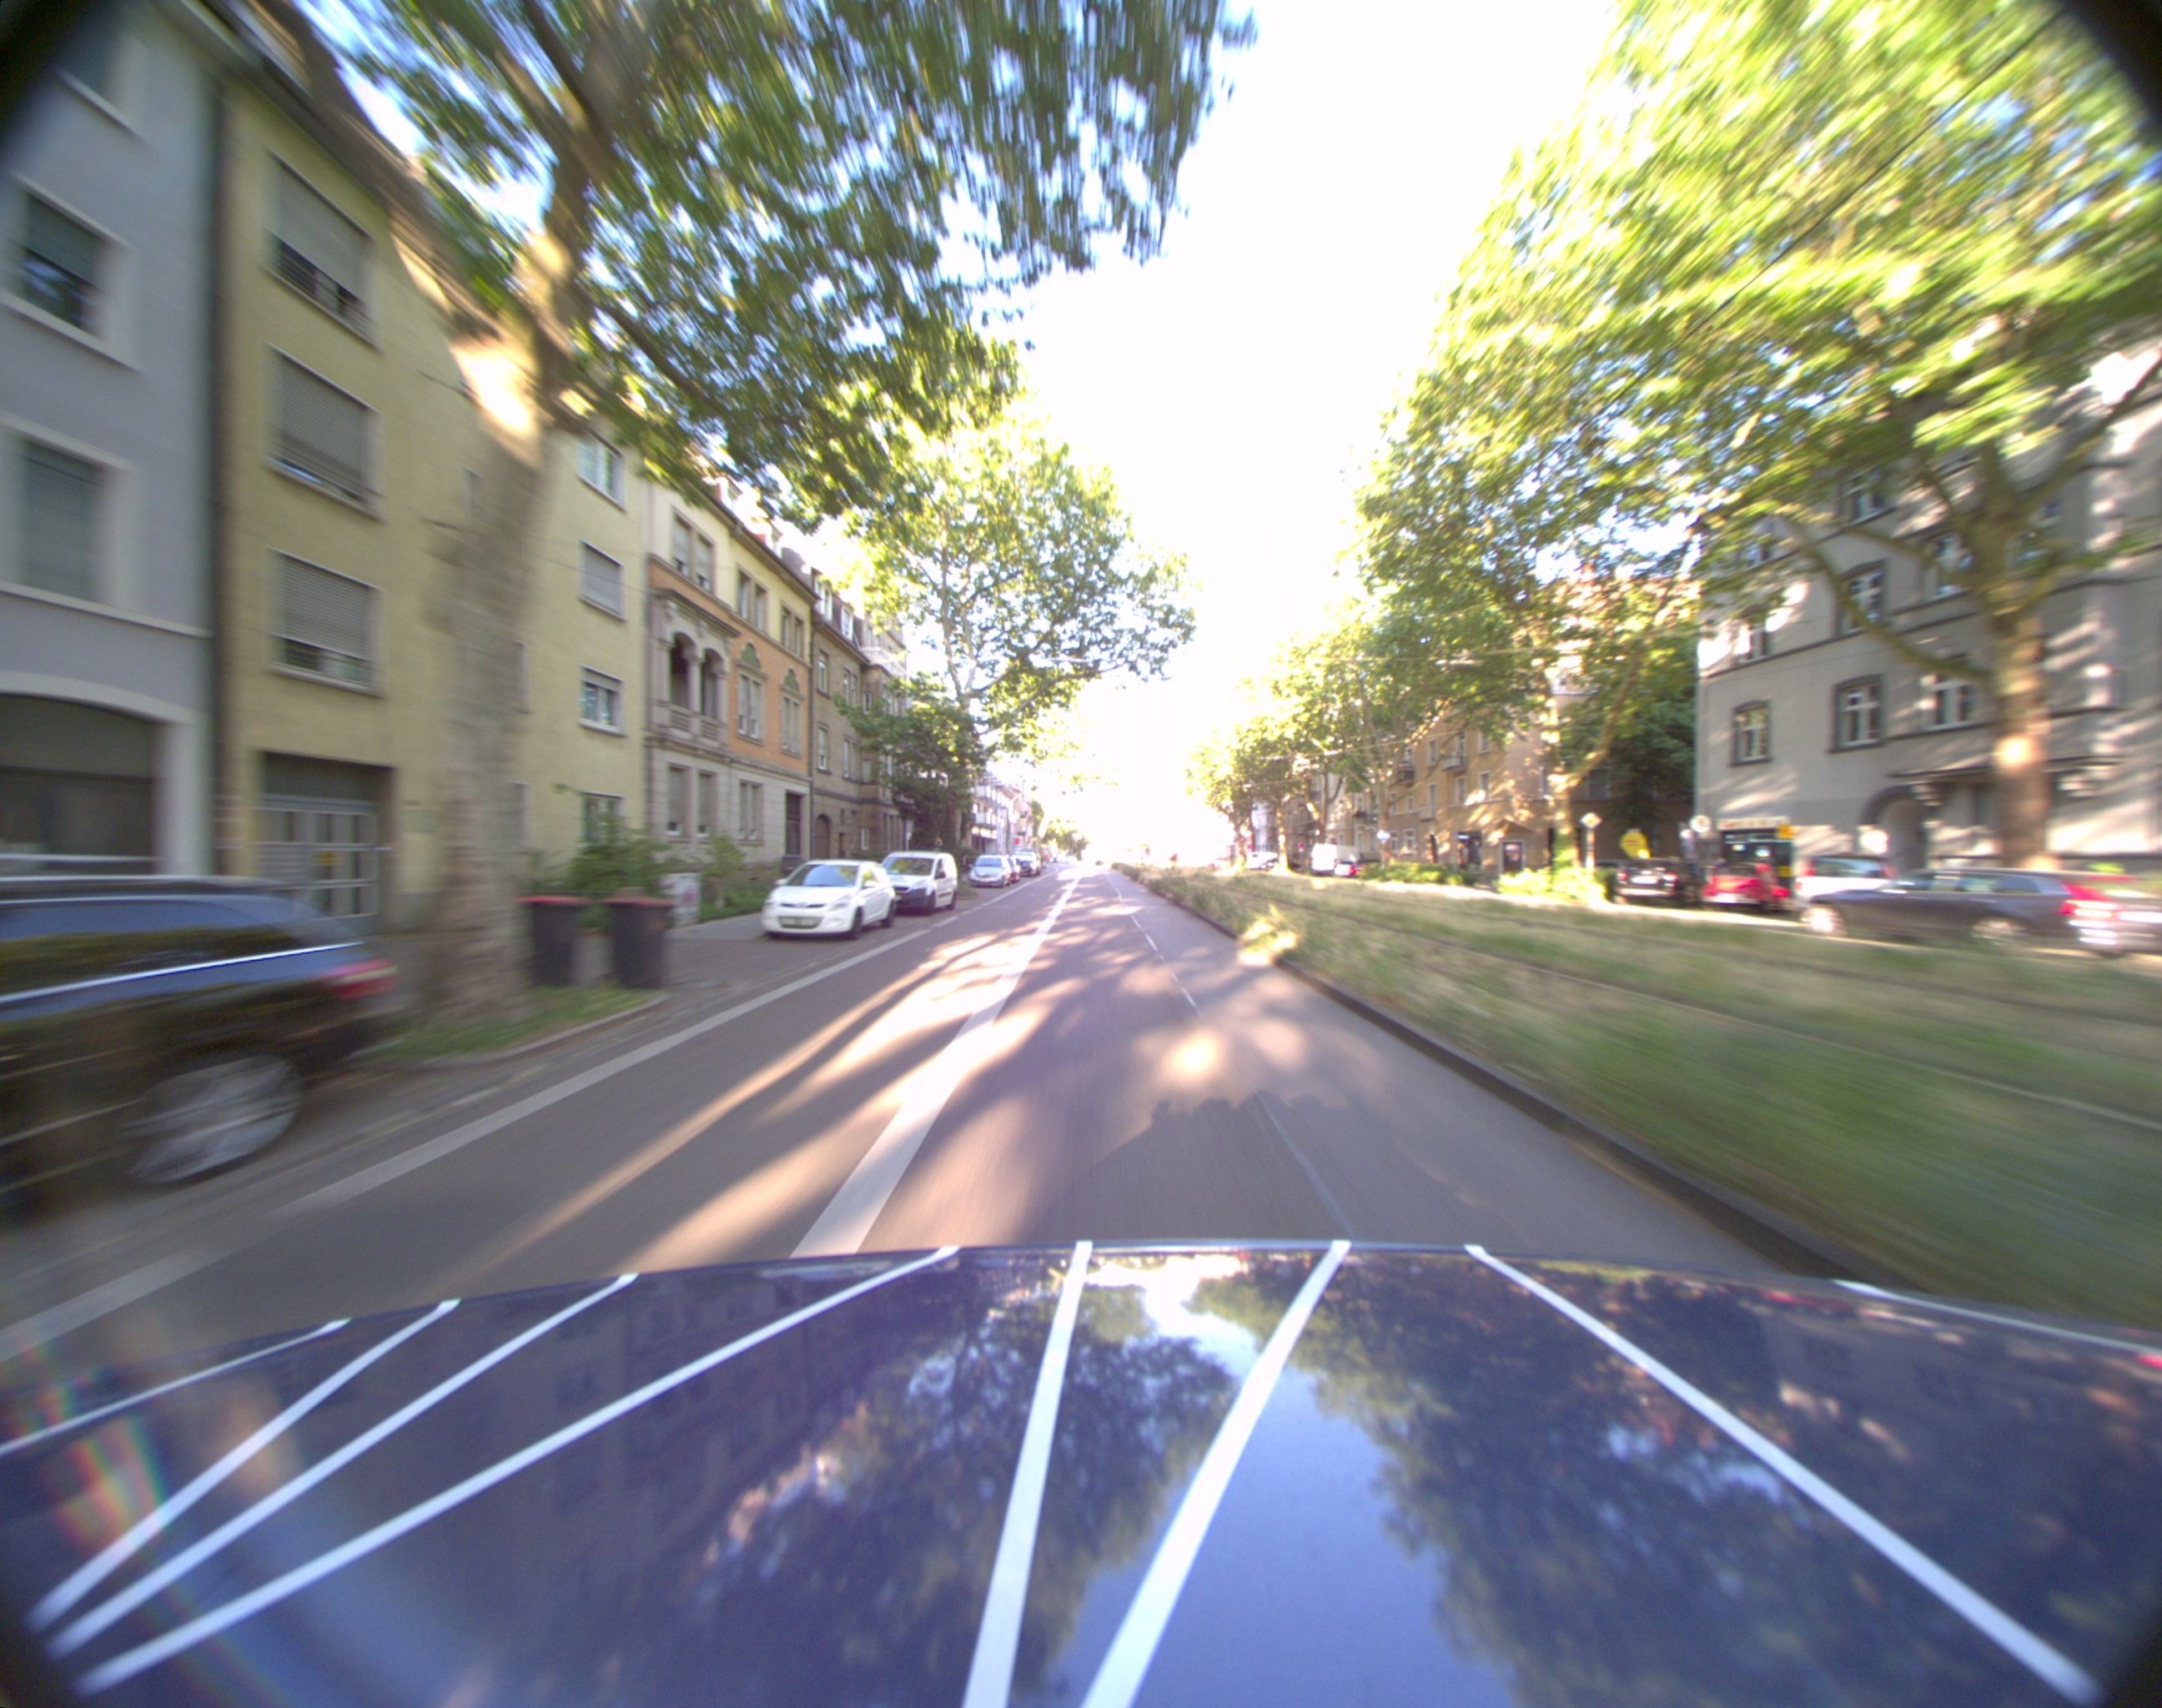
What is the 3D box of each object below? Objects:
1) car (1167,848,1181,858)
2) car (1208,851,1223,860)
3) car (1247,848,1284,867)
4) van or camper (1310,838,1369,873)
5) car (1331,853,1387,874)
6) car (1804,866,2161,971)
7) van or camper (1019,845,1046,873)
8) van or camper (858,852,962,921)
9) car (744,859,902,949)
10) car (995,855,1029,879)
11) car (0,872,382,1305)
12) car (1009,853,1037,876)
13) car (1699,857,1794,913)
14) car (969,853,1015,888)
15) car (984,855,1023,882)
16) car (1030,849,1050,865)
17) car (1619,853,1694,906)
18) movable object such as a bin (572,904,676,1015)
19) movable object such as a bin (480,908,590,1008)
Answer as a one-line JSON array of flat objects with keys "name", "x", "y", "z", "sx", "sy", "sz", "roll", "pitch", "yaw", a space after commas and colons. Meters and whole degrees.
[{"name": "car", "x": 14.209, "y": -0.168, "z": 115.707, "sx": 1.997, "sy": 1.477, "sz": 4.002, "roll": -2, "pitch": 1, "yaw": 9}, {"name": "car", "x": 23.246, "y": 0.275, "z": 131.268, "sx": 1.998, "sy": 1.412, "sz": 4.000, "roll": -2, "pitch": 1, "yaw": 3}, {"name": "car", "x": 20.229, "y": 0.374, "z": 83.233, "sx": 4.007, "sy": 2.002, "sz": 1.994, "roll": -3, "pitch": 1, "yaw": -41}, {"name": "van or camper", "x": 19.784, "y": 0.103, "z": 58.146, "sx": 4.371, "sy": 2.386, "sz": 2.196, "roll": -4, "pitch": 2, "yaw": -39}, {"name": "car", "x": 20.345, "y": 0.678, "z": 55.613, "sx": 4.006, "sy": 1.240, "sz": 1.726, "roll": -4, "pitch": 2, "yaw": -33}, {"name": "car", "x": 15.580, "y": 0.980, "z": 13.161, "sx": 1.825, "sy": 1.382, "sz": 4.483, "roll": 2, "pitch": 0, "yaw": 0}, {"name": "van or camper", "x": -3.980, "y": 0.396, "z": 62.716, "sx": 1.790, "sy": 2.172, "sz": 4.732, "roll": 1, "pitch": 0, "yaw": 1}, {"name": "van or camper", "x": -4.713, "y": 0.833, "z": 21.601, "sx": 1.790, "sy": 1.710, "sz": 4.379, "roll": 1, "pitch": 0, "yaw": 2}, {"name": "car", "x": -4.971, "y": 0.882, "z": 15.306, "sx": 1.702, "sy": 1.517, "sz": 4.194, "roll": 0, "pitch": 0, "yaw": 1}, {"name": "car", "x": -4.380, "y": 0.810, "z": 48.698, "sx": 1.790, "sy": 1.458, "sz": 3.569, "roll": 1, "pitch": 0, "yaw": 1}, {"name": "car", "x": -5.167, "y": 0.943, "z": 2.164, "sx": 1.998, "sy": 1.557, "sz": 4.664, "roll": 2, "pitch": 1, "yaw": 1}, {"name": "car", "x": -4.225, "y": 0.726, "z": 55.987, "sx": 1.790, "sy": 1.585, "sz": 4.013, "roll": 1, "pitch": 0, "yaw": 0}, {"name": "car", "x": 20.015, "y": 0.860, "z": 22.790, "sx": 4.008, "sy": 1.545, "sz": 1.655, "roll": 0, "pitch": -1, "yaw": -42}, {"name": "car", "x": -4.453, "y": 0.797, "z": 38.624, "sx": 1.790, "sy": 1.609, "sz": 3.829, "roll": 1, "pitch": 0, "yaw": 1}, {"name": "car", "x": -4.450, "y": 0.797, "z": 43.930, "sx": 1.790, "sy": 1.458, "sz": 3.569, "roll": 1, "pitch": 0, "yaw": 1}, {"name": "car", "x": -4.734, "y": 0.321, "z": 87.937, "sx": 1.998, "sy": 1.820, "sz": 4.000, "roll": 0, "pitch": 0, "yaw": 1}, {"name": "car", "x": 19.616, "y": 0.822, "z": 25.830, "sx": 1.725, "sy": 1.643, "sz": 4.009, "roll": -1, "pitch": -1, "yaw": 41}, {"name": "movable object such as a bin", "x": -5.037, "y": 1.147, "z": 8.415, "sx": 0.683, "sy": 1.109, "sz": 0.670, "roll": -2, "pitch": 1, "yaw": 2}, {"name": "movable object such as a bin", "x": -5.964, "y": 1.117, "z": 8.329, "sx": 0.683, "sy": 1.024, "sz": 0.671, "roll": 1, "pitch": -2, "yaw": 2}]
